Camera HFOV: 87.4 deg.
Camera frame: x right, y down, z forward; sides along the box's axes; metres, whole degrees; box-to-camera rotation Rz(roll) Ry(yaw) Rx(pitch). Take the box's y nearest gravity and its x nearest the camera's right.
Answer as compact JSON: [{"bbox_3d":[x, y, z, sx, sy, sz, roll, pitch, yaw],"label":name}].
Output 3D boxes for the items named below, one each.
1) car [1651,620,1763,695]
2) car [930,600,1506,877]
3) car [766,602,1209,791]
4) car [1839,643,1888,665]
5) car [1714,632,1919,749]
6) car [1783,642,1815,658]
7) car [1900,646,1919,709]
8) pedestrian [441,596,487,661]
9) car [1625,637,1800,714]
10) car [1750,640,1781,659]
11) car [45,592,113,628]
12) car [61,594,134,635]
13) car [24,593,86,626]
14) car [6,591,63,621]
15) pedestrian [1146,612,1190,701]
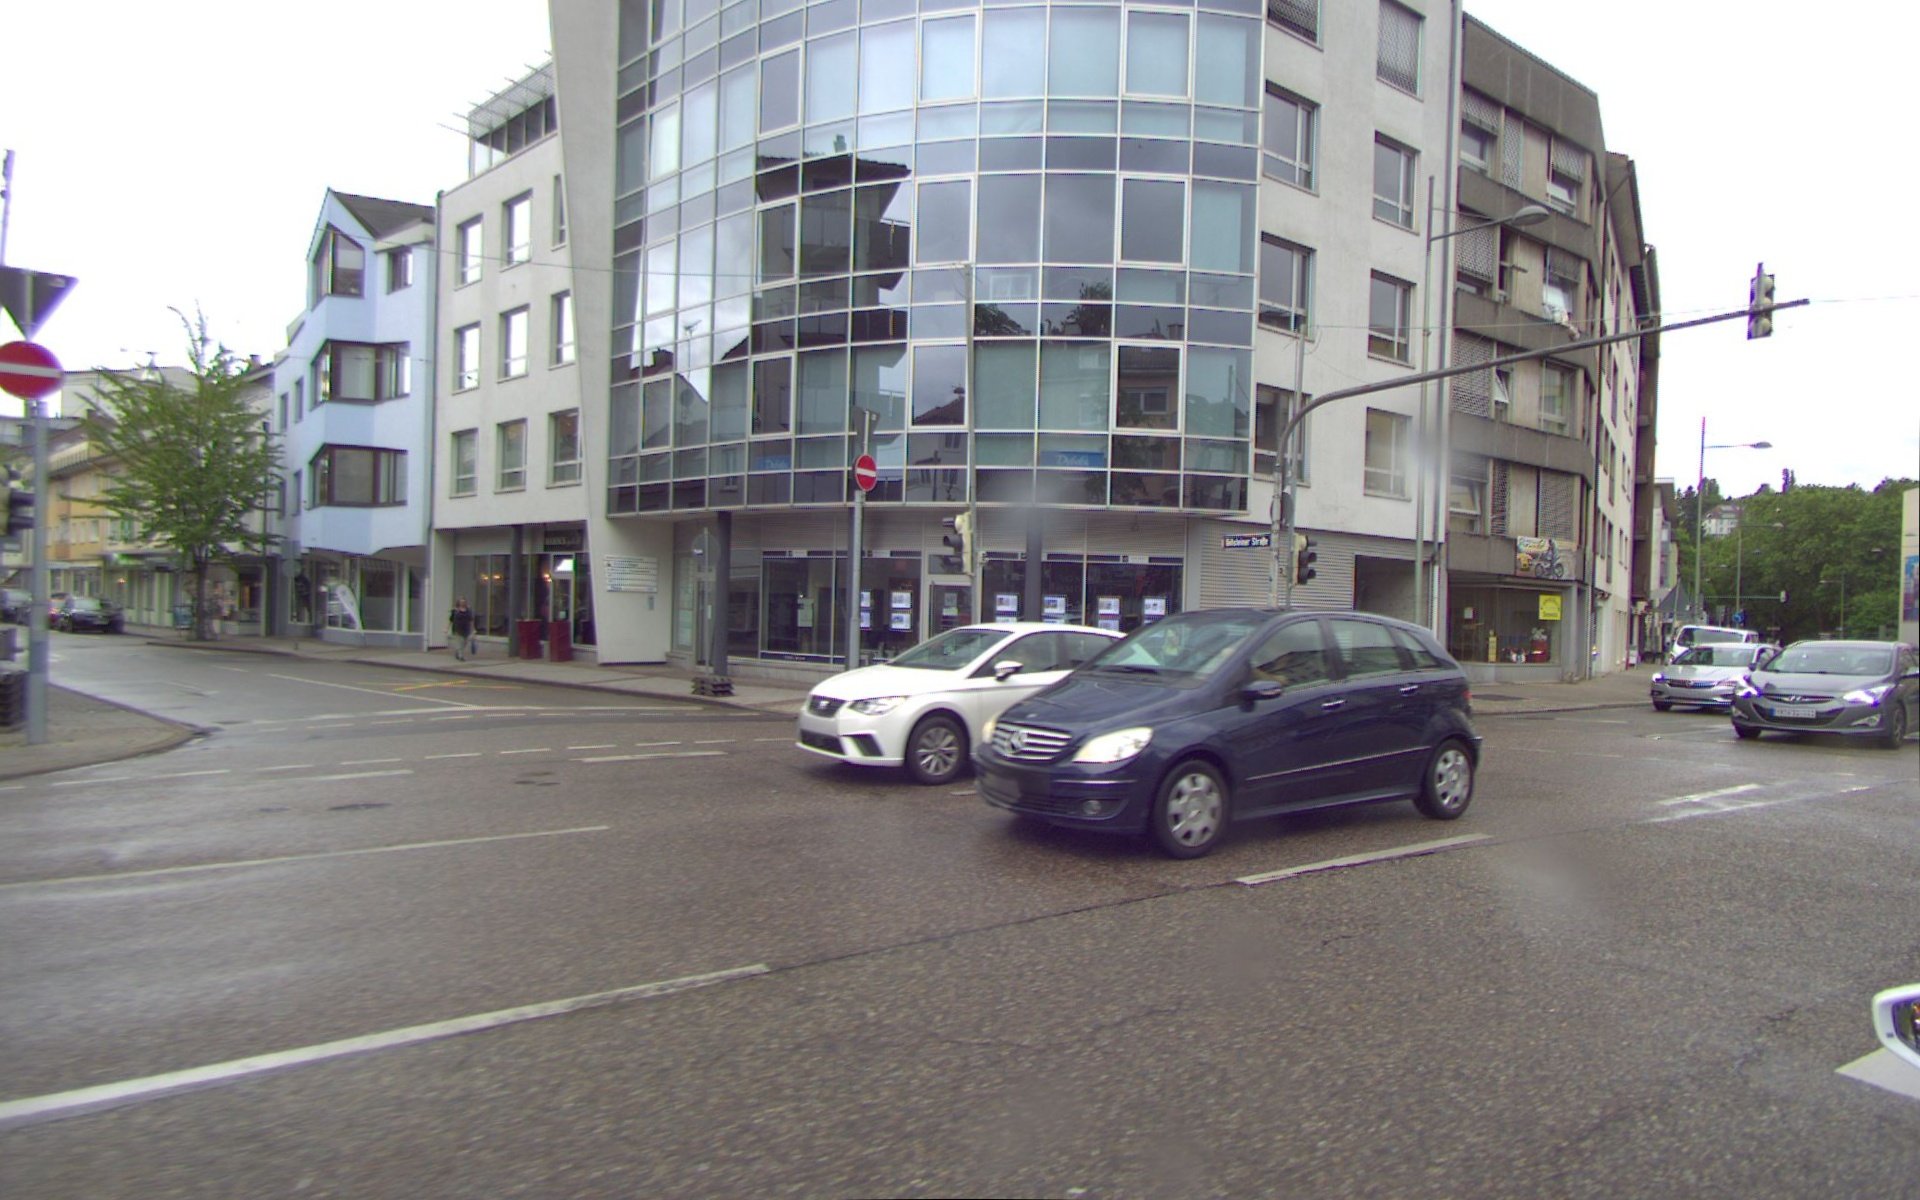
[{"bbox_3d":[23.577,1.824,31.628,2.096,2.041,5.099,4,0,44],"label":"car"},{"bbox_3d":[2.055,0.842,7.585,4.237,1.563,1.820,2,-1,-33],"label":"car"},{"bbox_3d":[0.376,0.860,10.124,4.238,1.544,1.762,2,-2,-33],"label":"car"},{"bbox_3d":[70.557,4.167,78.528,1.828,1.573,4.221,1,-1,28],"label":"car"},{"bbox_3d":[13.240,1.262,15.061,4.603,1.493,1.840,2,-2,-36],"label":"car"},{"bbox_3d":[81.038,4.828,97.082,1.795,1.452,4.388,1,-2,32],"label":"car"},{"bbox_3d":[23.316,1.802,23.258,4.568,1.384,1.809,3,-3,-41],"label":"car"},{"bbox_3d":[-13.219,0.751,26.803,0.554,1.675,0.892,0,3,39],"label":"pedestrian"},{"bbox_3d":[16.265,1.576,21.642,4.563,1.493,1.914,2,-4,-38],"label":"car"},{"bbox_3d":[77.195,4.731,96.338,1.836,1.668,4.244,0,-2,32],"label":"car"},{"bbox_3d":[-43.437,0.486,49.498,3.941,1.597,1.990,1,-1,41],"label":"car"},{"bbox_3d":[-39.126,0.636,45.521,3.942,1.668,1.990,2,0,42],"label":"car"},{"bbox_3d":[-47.952,0.479,53.186,3.941,1.597,1.990,1,-1,41],"label":"car"},{"bbox_3d":[-52.754,0.341,57.230,3.941,1.597,1.990,1,-1,41],"label":"car"},{"bbox_3d":[3.903,1.052,18.881,0.614,1.629,0.832,1,-1,-2],"label":"pedestrian"}]
